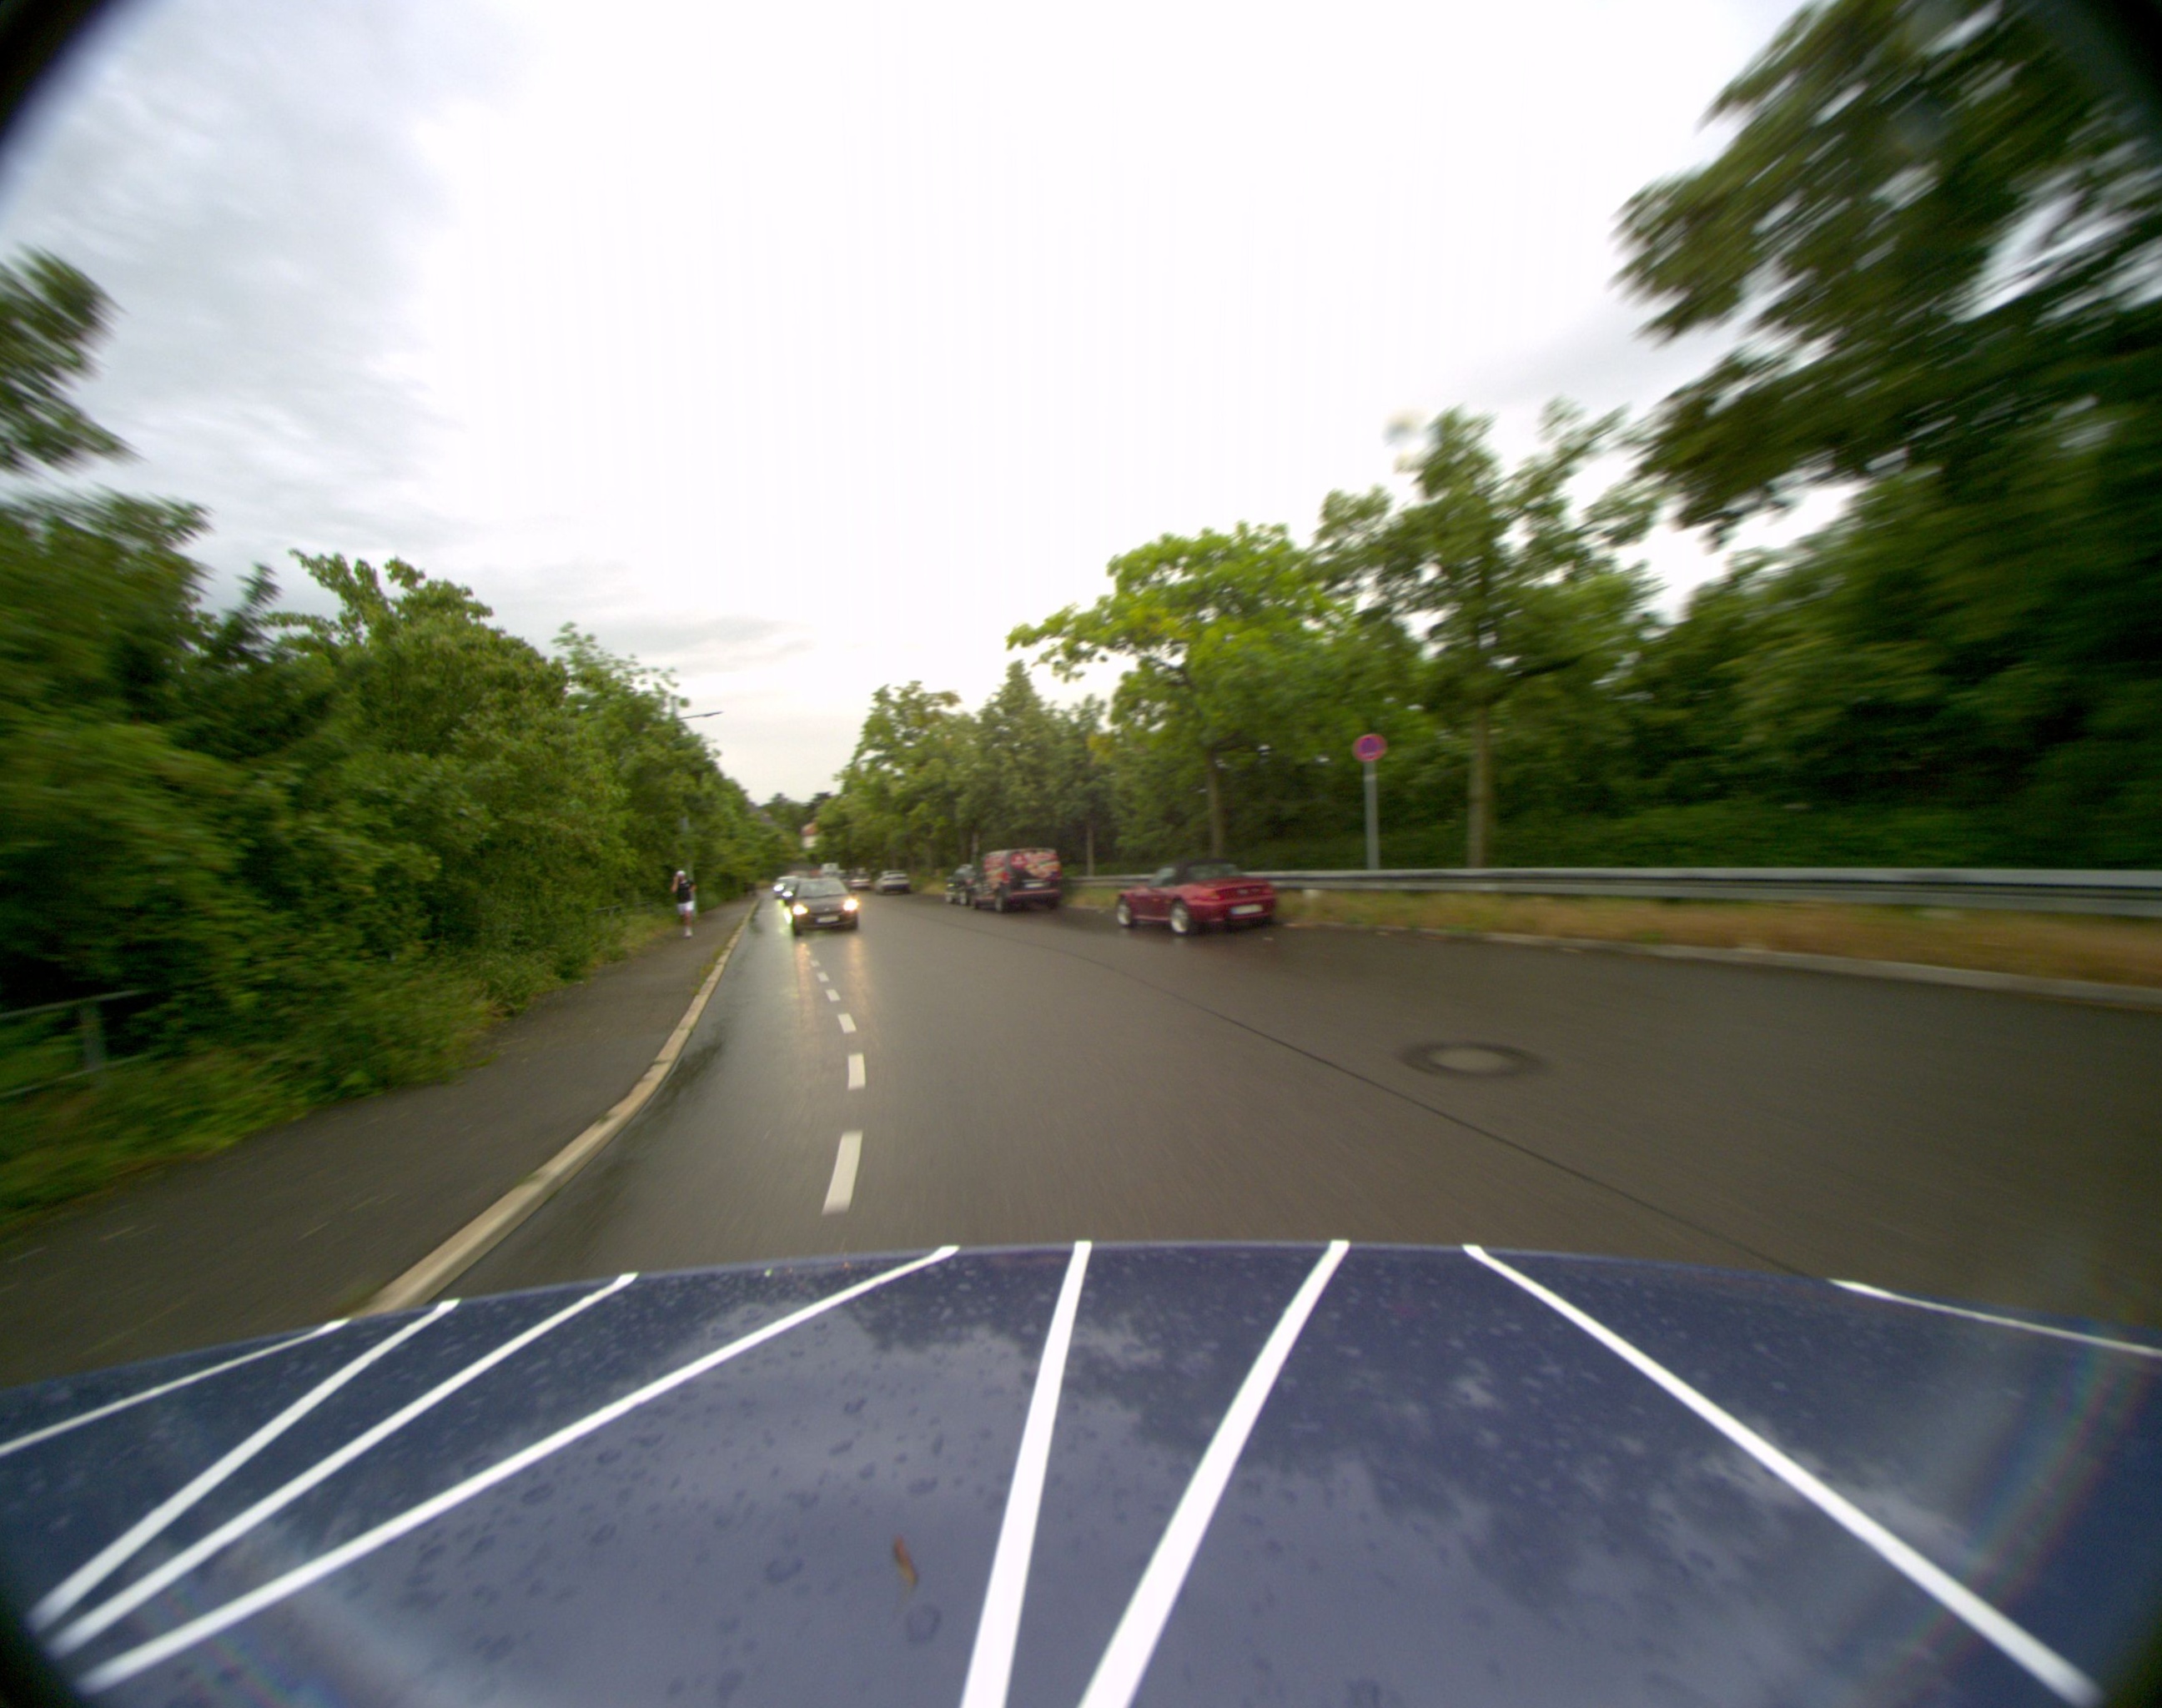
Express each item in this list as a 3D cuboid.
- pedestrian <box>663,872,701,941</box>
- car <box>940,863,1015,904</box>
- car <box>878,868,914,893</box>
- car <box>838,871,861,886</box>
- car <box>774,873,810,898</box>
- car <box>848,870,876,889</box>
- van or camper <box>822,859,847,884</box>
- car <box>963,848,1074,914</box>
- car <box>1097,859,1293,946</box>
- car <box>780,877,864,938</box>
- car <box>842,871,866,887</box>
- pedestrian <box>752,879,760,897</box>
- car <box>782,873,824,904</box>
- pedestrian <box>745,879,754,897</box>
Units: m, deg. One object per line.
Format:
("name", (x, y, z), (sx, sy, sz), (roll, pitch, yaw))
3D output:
("pedestrian", (-10.905, 1.413, 20.819), (0.719, 1.824, 1.020), (-3, 0, -20))
("car", (-4.208, 1.125, 30.324), (1.805, 1.429, 4.248), (-4, 1, -23))
("car", (-11.858, 1.648, 48.453), (1.695, 1.429, 4.249), (-4, 1, -20))
("car", (-24.369, 2.560, 79.934), (2.002, 1.397, 4.706), (-3, 0, -20))
("car", (-21.556, 2.320, 56.811), (2.033, 1.619, 4.222), (-4, 0, -16))
("car", (-19.107, 2.186, 66.120), (1.762, 1.394, 4.411), (-4, 1, -22))
("van or camper", (-32.575, 2.283, 100.271), (2.516, 3.009, 6.550), (-3, 0, -22))
("car", (-2.202, 0.831, 25.022), (2.092, 1.809, 5.371), (-4, 1, -21))
("car", (1.956, 0.803, 14.475), (1.796, 1.289, 4.318), (-4, 1, -20))
("car", (-7.391, 1.420, 21.412), (1.807, 1.418, 4.375), (-3, 0, -24))
("car", (-22.564, 2.432, 75.344), (2.002, 1.397, 4.706), (-3, 0, -20))
("pedestrian", (-29.724, 3.130, 69.585), (0.554, 1.557, 0.486), (-1, 2, -15))
("car", (-15.937, 1.943, 43.617), (2.033, 1.454, 3.994), (-5, 1, -20))
("pedestrian", (-30.325, 3.134, 69.453), (0.597, 1.558, 0.668), (-1, 2, -14))
